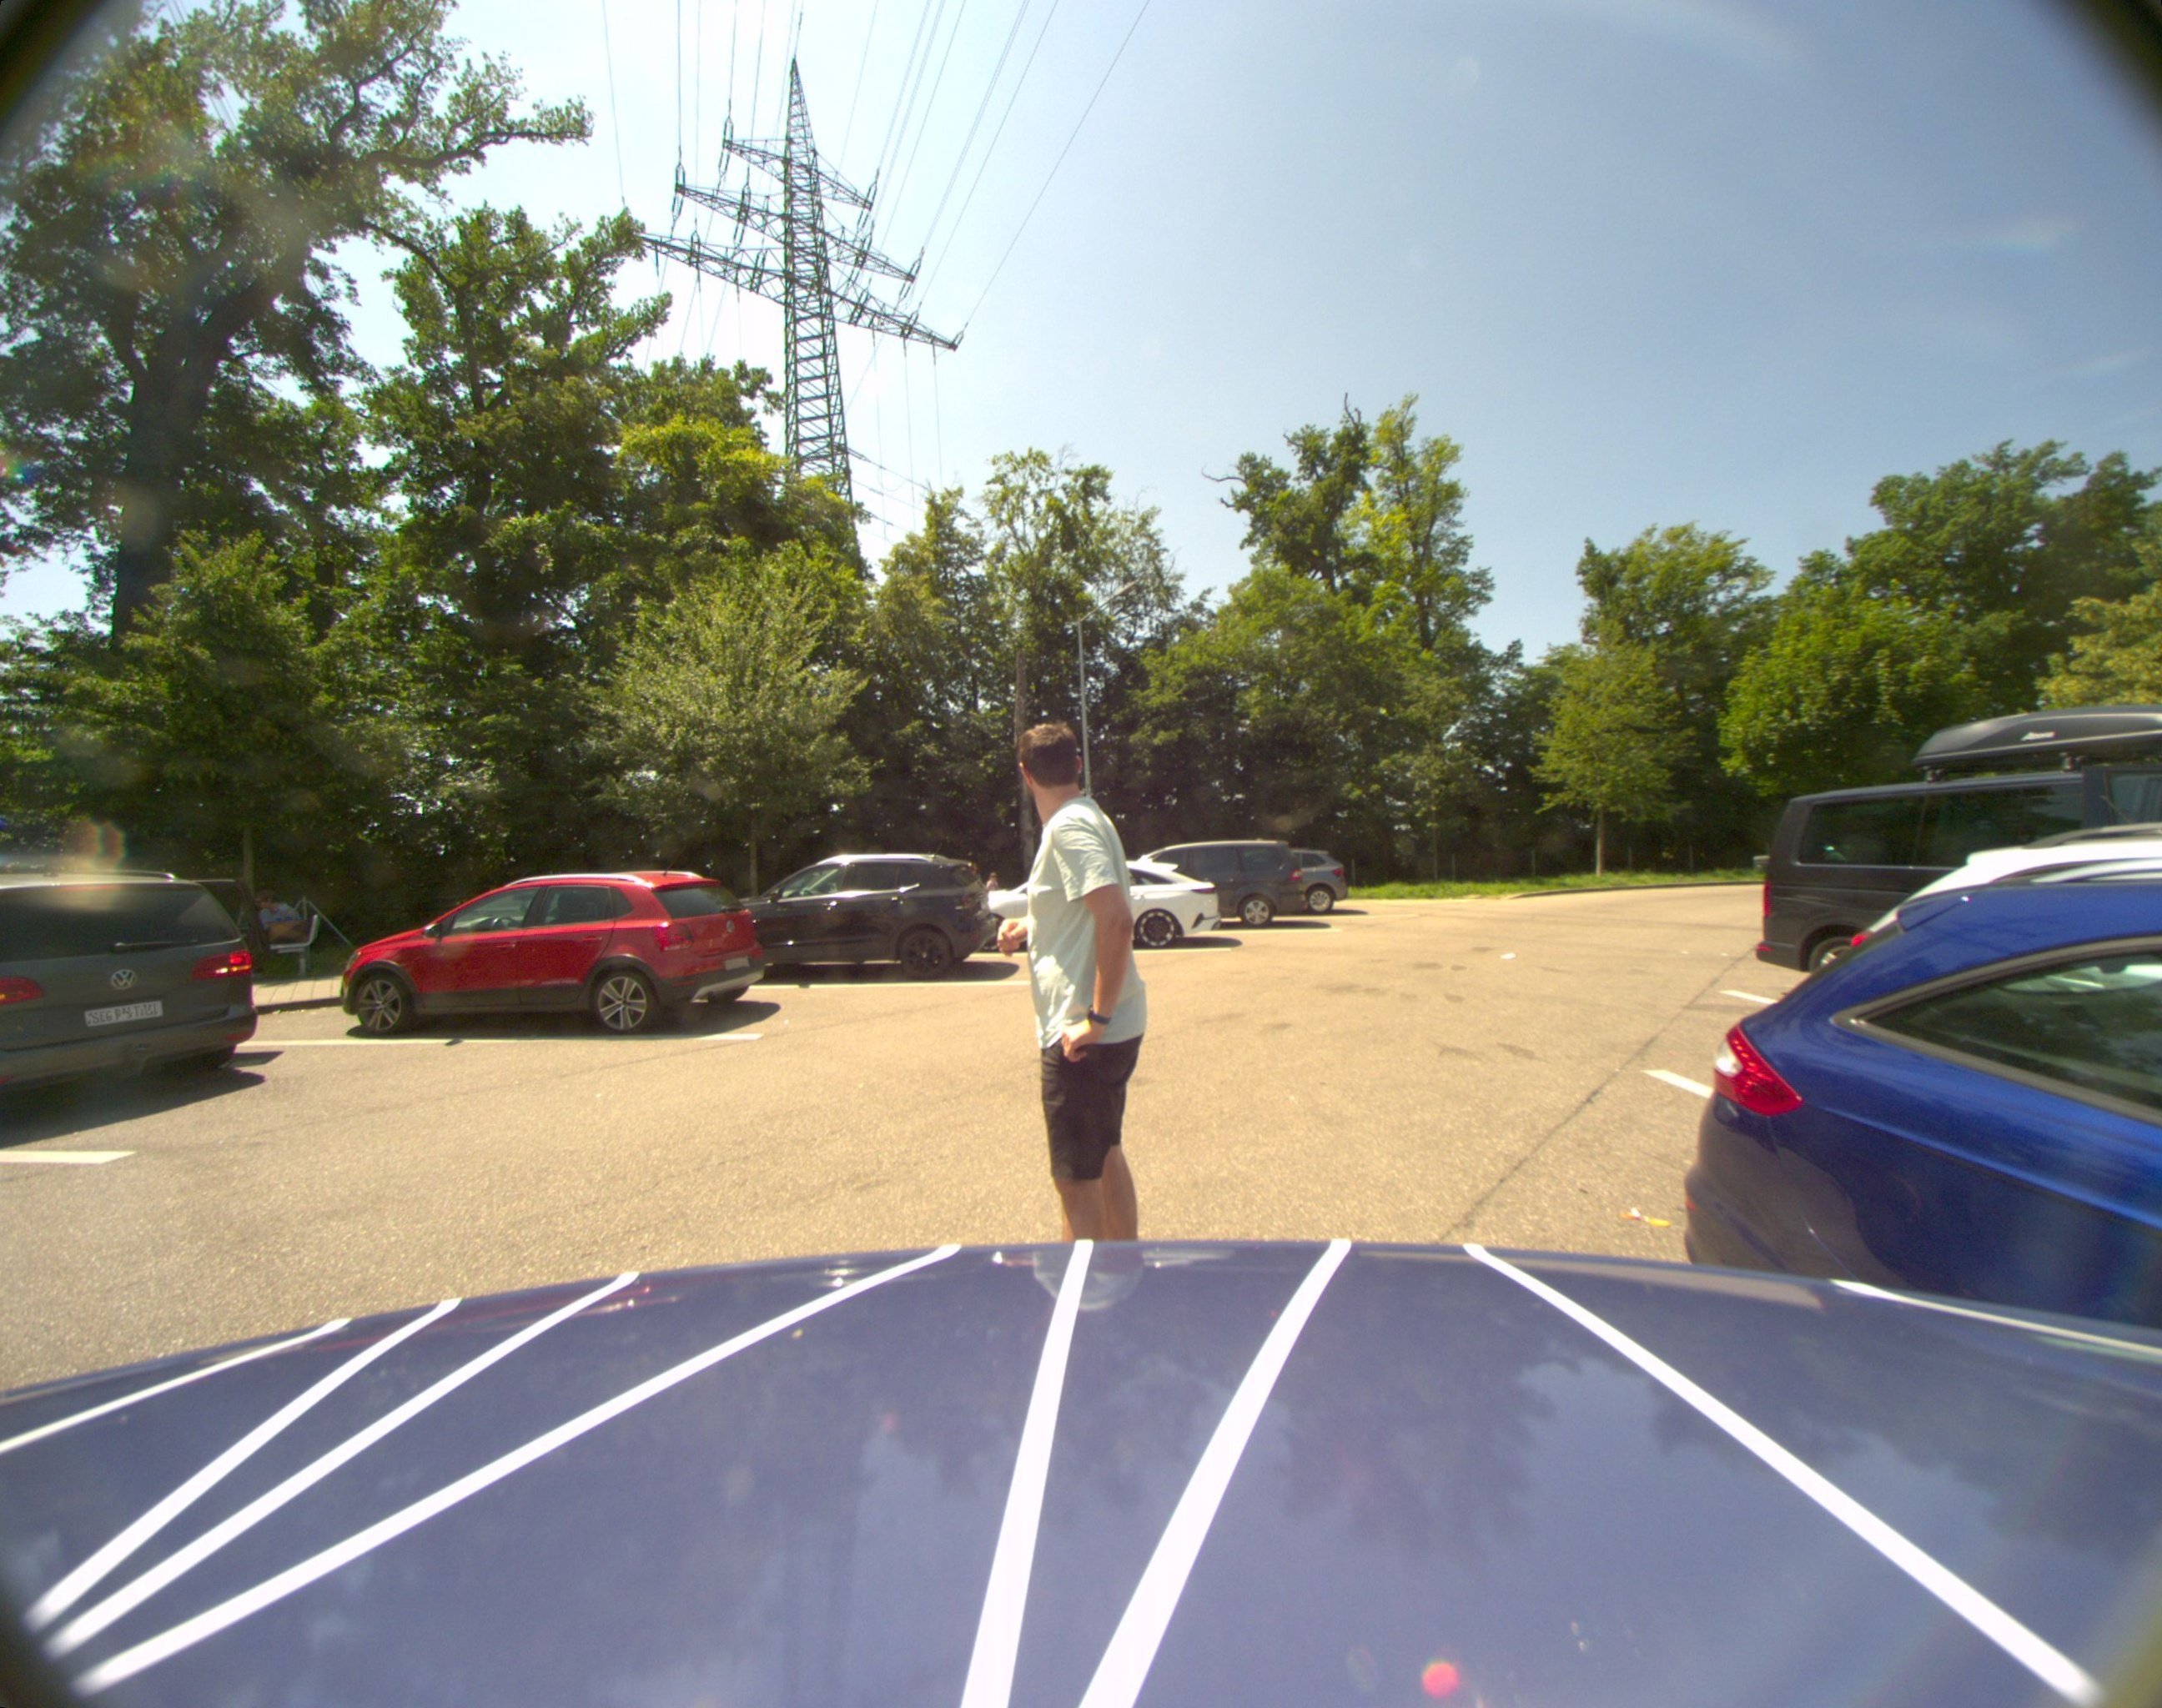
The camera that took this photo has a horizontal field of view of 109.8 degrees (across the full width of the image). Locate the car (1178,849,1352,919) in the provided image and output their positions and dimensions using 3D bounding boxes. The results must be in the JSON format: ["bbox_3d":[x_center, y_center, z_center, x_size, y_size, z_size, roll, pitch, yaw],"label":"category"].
[{"bbox_3d":[4.338,0.688,18.169,3.818,1.530,1.722,-1,1,12],"label":"car"}]

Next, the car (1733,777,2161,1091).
[{"bbox_3d":[7.320,0.435,4.928,1.961,1.858,4.642,-3,-1,-3],"label":"car"}]

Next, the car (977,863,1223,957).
[{"bbox_3d":[0.363,0.898,12.741,3.819,1.377,1.722,-1,1,6],"label":"car"}]

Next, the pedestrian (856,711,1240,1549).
[{"bbox_3d":[-0.040,0.603,2.187,0.620,1.831,0.892,-1,1,35],"label":"pedestrian"}]

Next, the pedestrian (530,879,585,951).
[{"bbox_3d":[-10.017,1.137,14.531,0.782,1.287,0.670,-1,2,45],"label":"pedestrian"}]

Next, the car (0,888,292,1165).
[{"bbox_3d":[-8.292,1.106,5.455,3.985,1.572,1.749,-1,1,12],"label":"car"}]

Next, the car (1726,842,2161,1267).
[{"bbox_3d":[4.872,0.724,2.298,1.741,1.524,4.642,-3,-1,-2],"label":"car"}]

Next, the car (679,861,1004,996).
[{"bbox_3d":[-3.068,0.935,10.275,3.787,1.564,1.721,-1,1,2],"label":"car"}]

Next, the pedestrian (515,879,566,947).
[{"bbox_3d":[-10.900,1.163,15.319,0.782,1.287,0.670,-1,2,45],"label":"pedestrian"}]

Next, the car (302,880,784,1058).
[{"bbox_3d":[-5.240,1.065,7.664,3.785,1.457,1.722,-1,1,9],"label":"car"}]

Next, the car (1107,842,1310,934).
[{"bbox_3d":[2.586,0.665,15.467,3.818,1.714,1.722,-1,1,12],"label":"car"}]
